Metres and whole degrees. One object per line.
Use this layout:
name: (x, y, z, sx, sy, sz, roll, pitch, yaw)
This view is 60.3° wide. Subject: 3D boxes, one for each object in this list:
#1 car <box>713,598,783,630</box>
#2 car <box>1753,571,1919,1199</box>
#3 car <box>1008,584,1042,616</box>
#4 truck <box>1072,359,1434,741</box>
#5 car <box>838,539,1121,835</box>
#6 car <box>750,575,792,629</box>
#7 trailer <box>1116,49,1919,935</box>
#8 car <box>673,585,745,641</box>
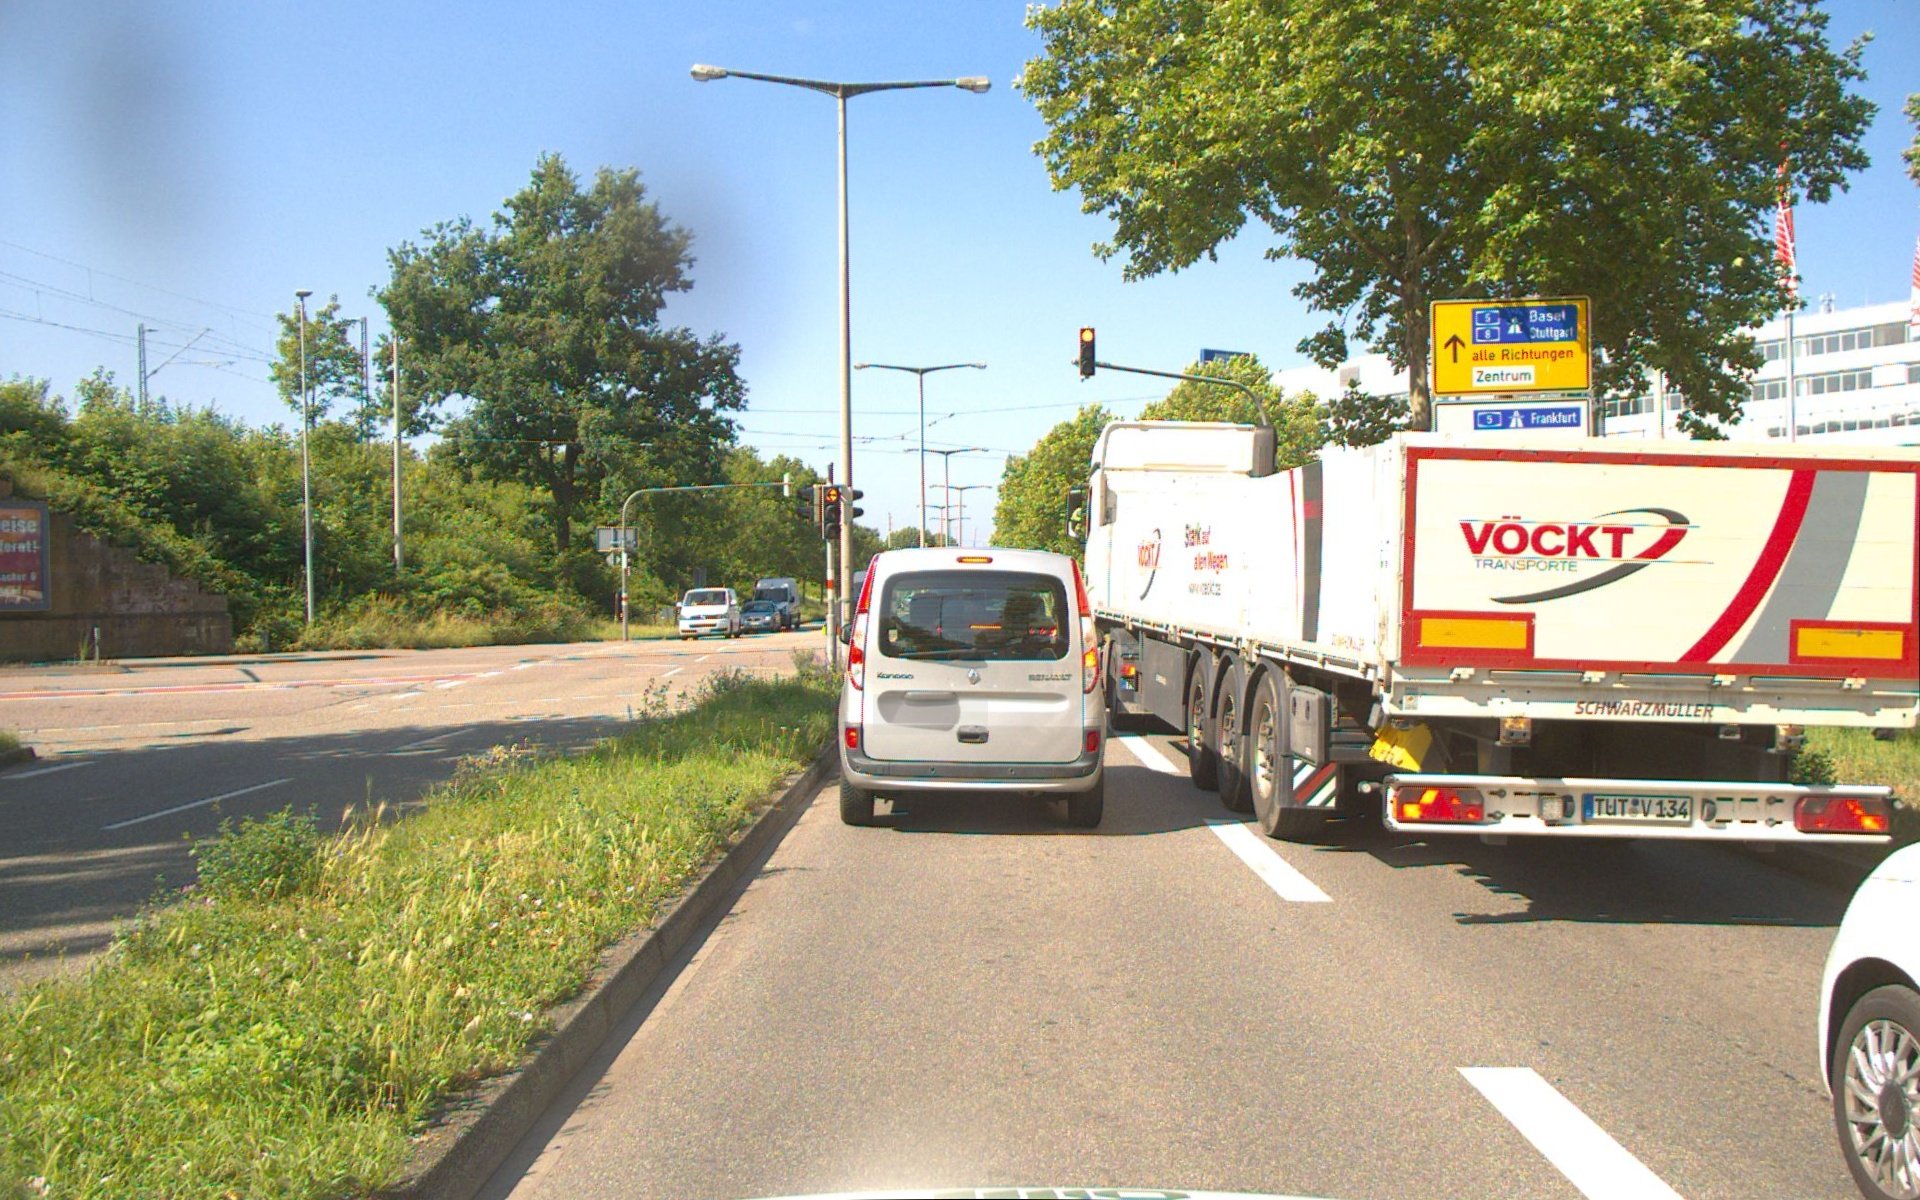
car: (-9.800, 0.638, 76.210, 1.888, 1.433, 4.190, 0, 0, -27)
car: (3.013, 0.667, 2.891, 1.627, 1.461, 3.520, 0, 0, 1)
car: (4.179, -0.009, 106.377, 1.953, 2.049, 3.999, 0, 0, -1)
truck: (3.205, -0.493, 20.386, 3.009, 3.823, 7.474, 0, 0, -1)
car: (0.100, 0.534, 12.063, 1.713, 1.803, 3.949, 0, 0, -1)
car: (-9.717, 0.091, 85.273, 2.019, 2.660, 5.861, 0, 0, -6)
trailer: (3.300, -0.458, 13.251, 2.954, 3.806, 12.239, 0, 0, 0)
car: (-9.345, 0.481, 61.910, 1.953, 1.924, 4.986, -3, 0, -1)
